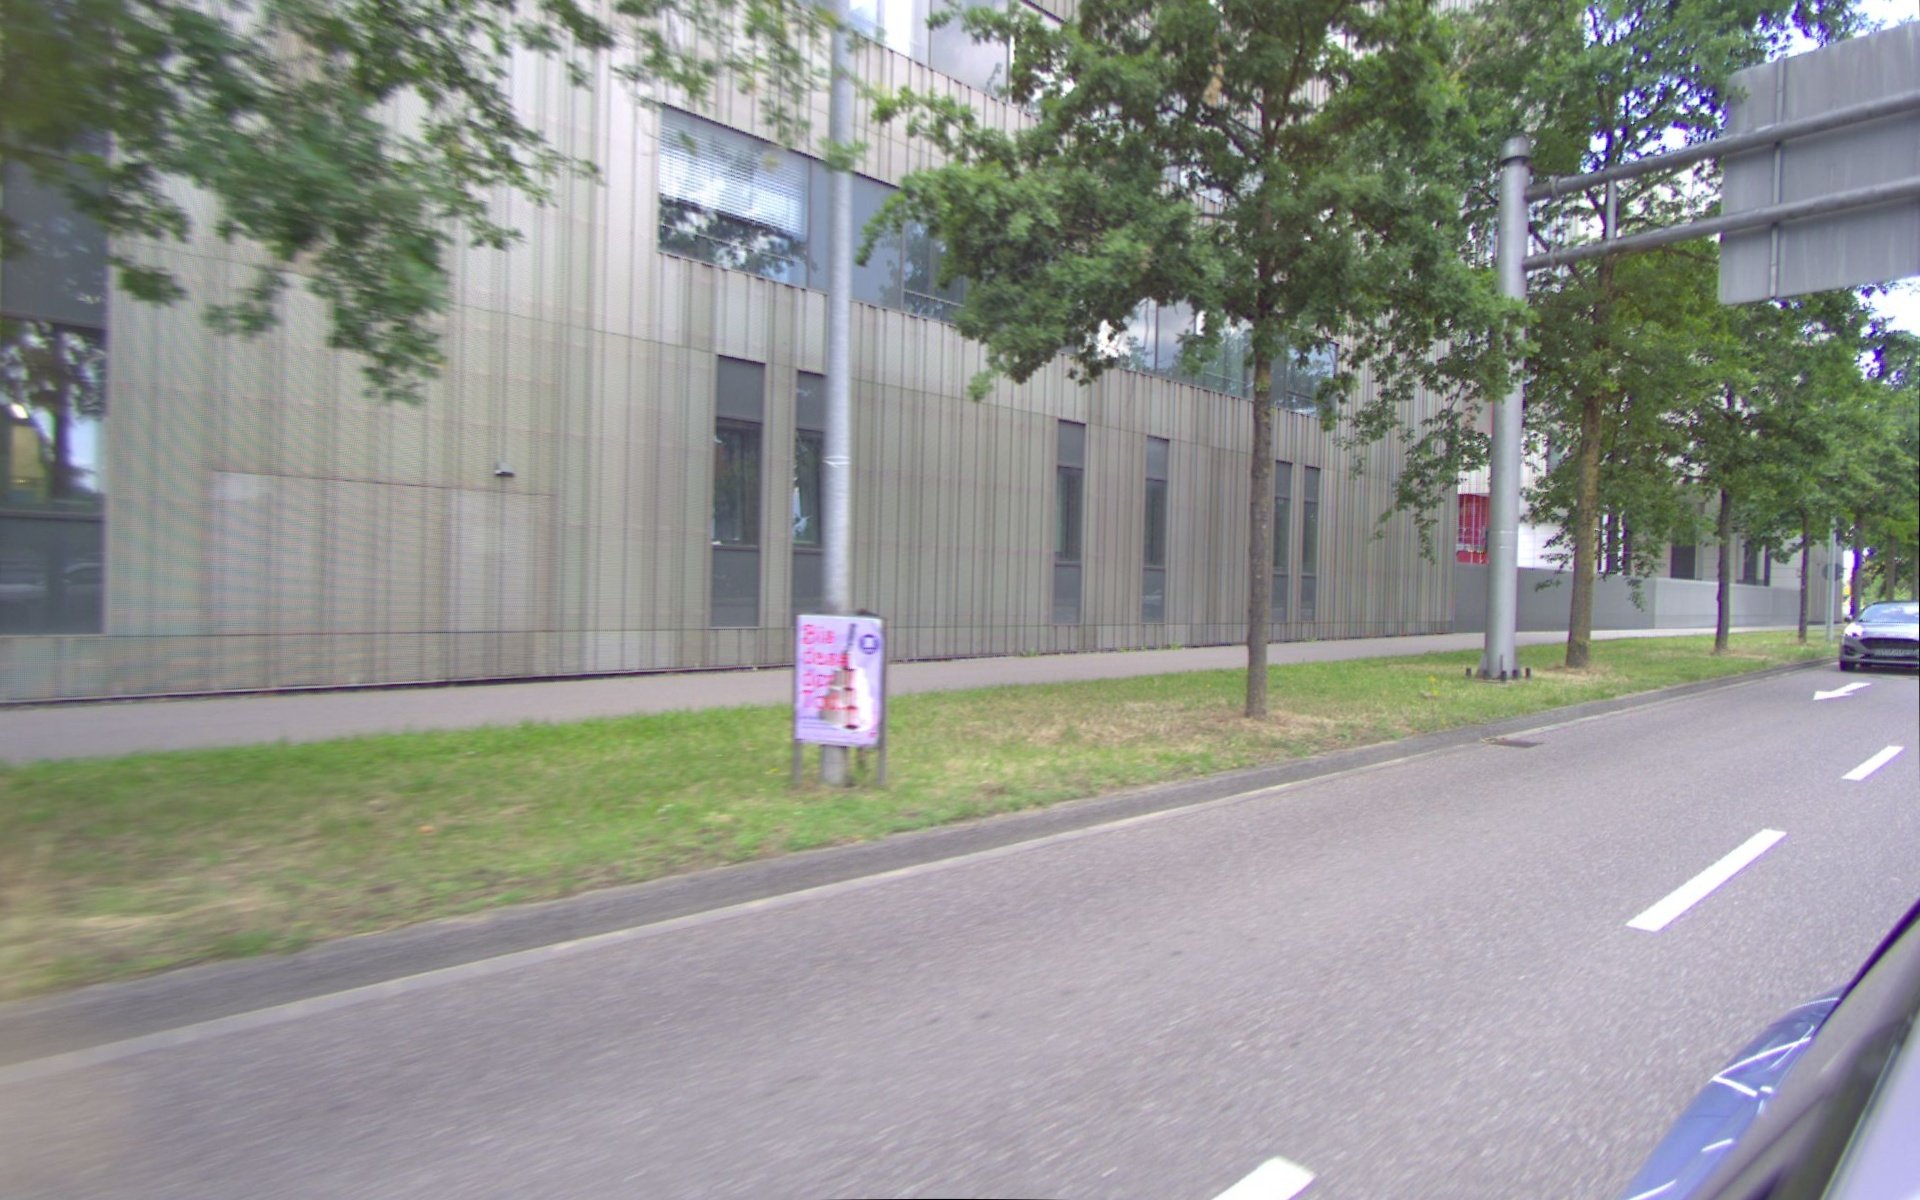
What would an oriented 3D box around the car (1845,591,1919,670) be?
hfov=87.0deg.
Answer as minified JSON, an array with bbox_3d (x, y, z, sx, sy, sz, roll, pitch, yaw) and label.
[{"bbox_3d":[20.642,0.618,21.838,3.885,1.594,1.822,0,-1,-41],"label":"car"}]
